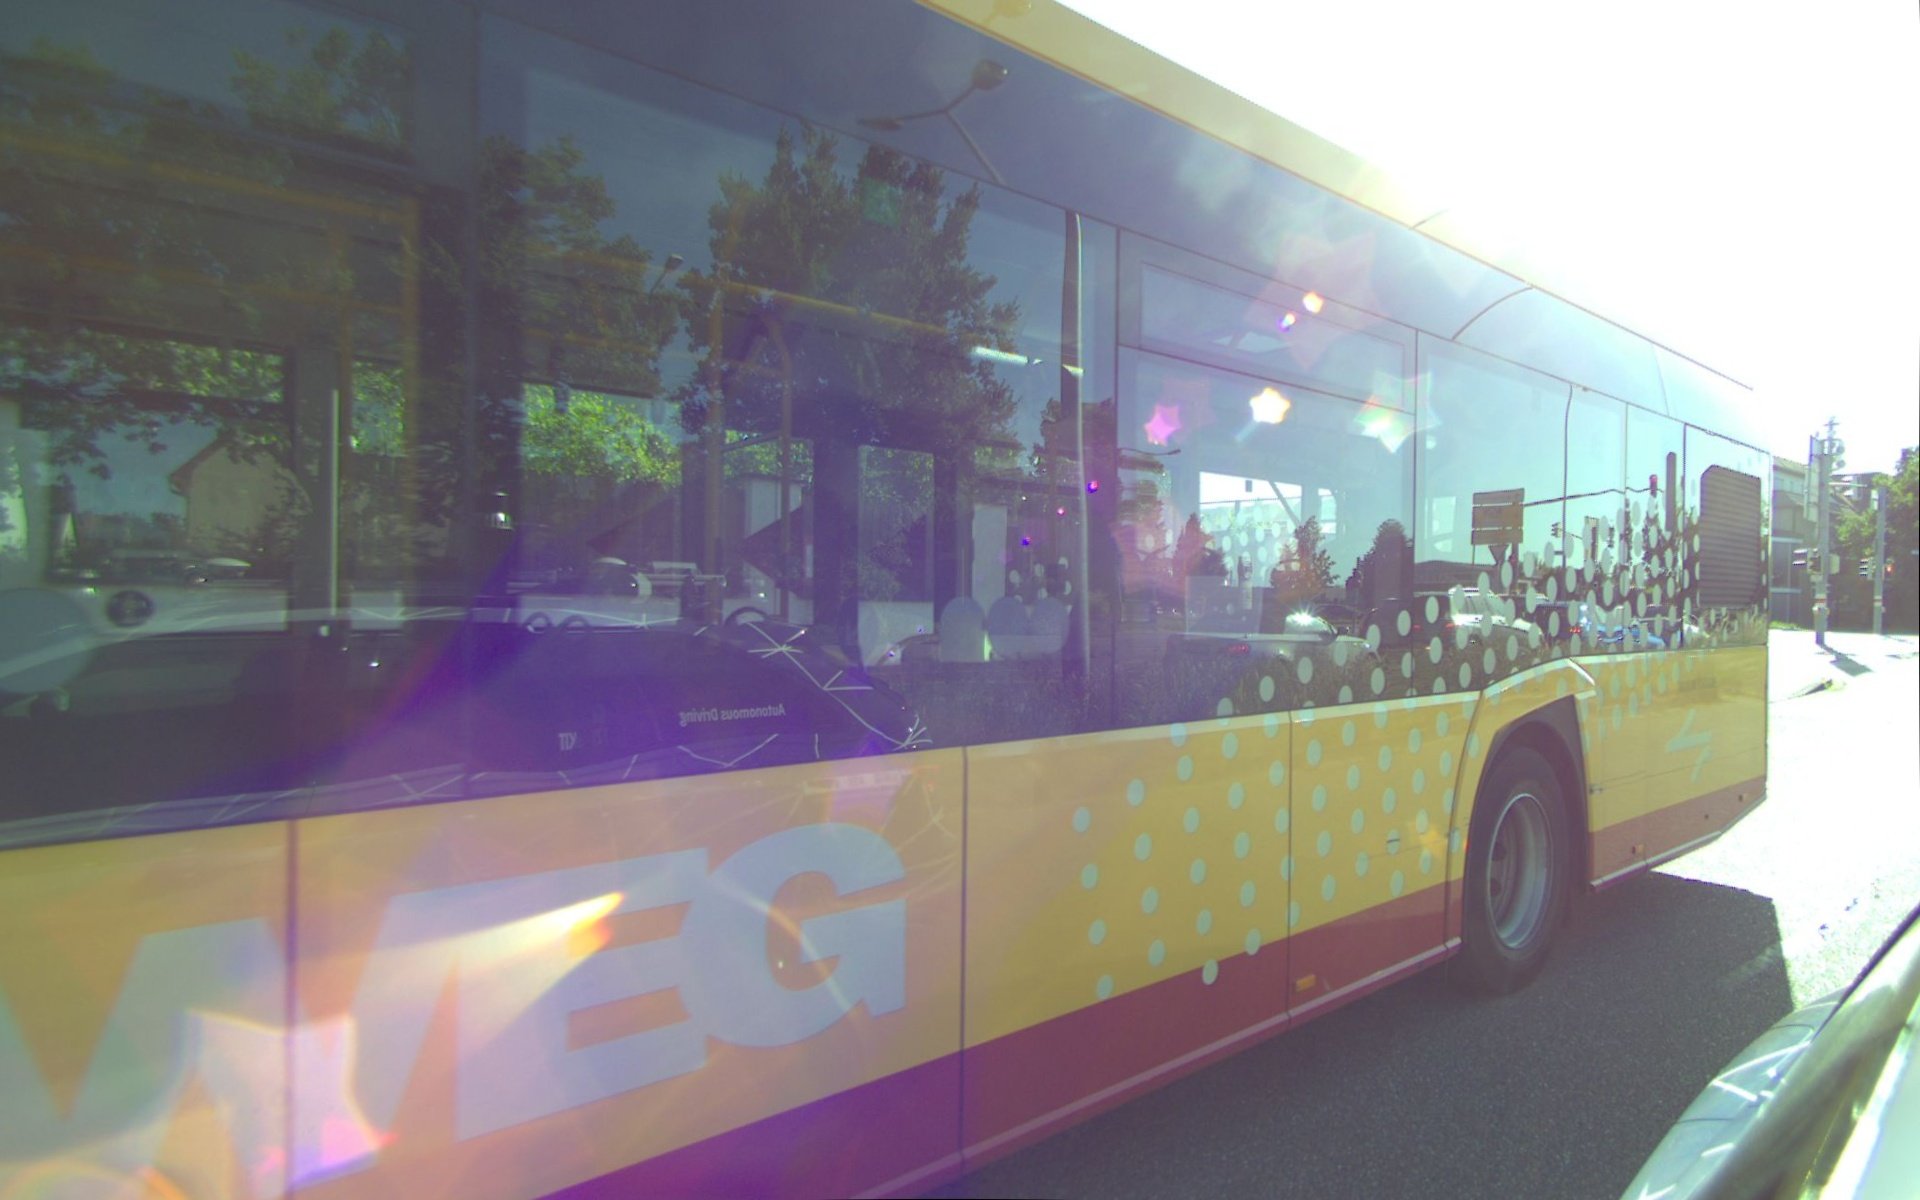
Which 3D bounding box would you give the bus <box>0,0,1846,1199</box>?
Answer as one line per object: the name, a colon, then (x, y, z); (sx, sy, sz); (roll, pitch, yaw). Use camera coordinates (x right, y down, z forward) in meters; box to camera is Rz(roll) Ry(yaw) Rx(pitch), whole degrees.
bus: (-0.551, -0.292, 3.245); (12.170, 3.501, 2.765); (-1, 2, -38)
